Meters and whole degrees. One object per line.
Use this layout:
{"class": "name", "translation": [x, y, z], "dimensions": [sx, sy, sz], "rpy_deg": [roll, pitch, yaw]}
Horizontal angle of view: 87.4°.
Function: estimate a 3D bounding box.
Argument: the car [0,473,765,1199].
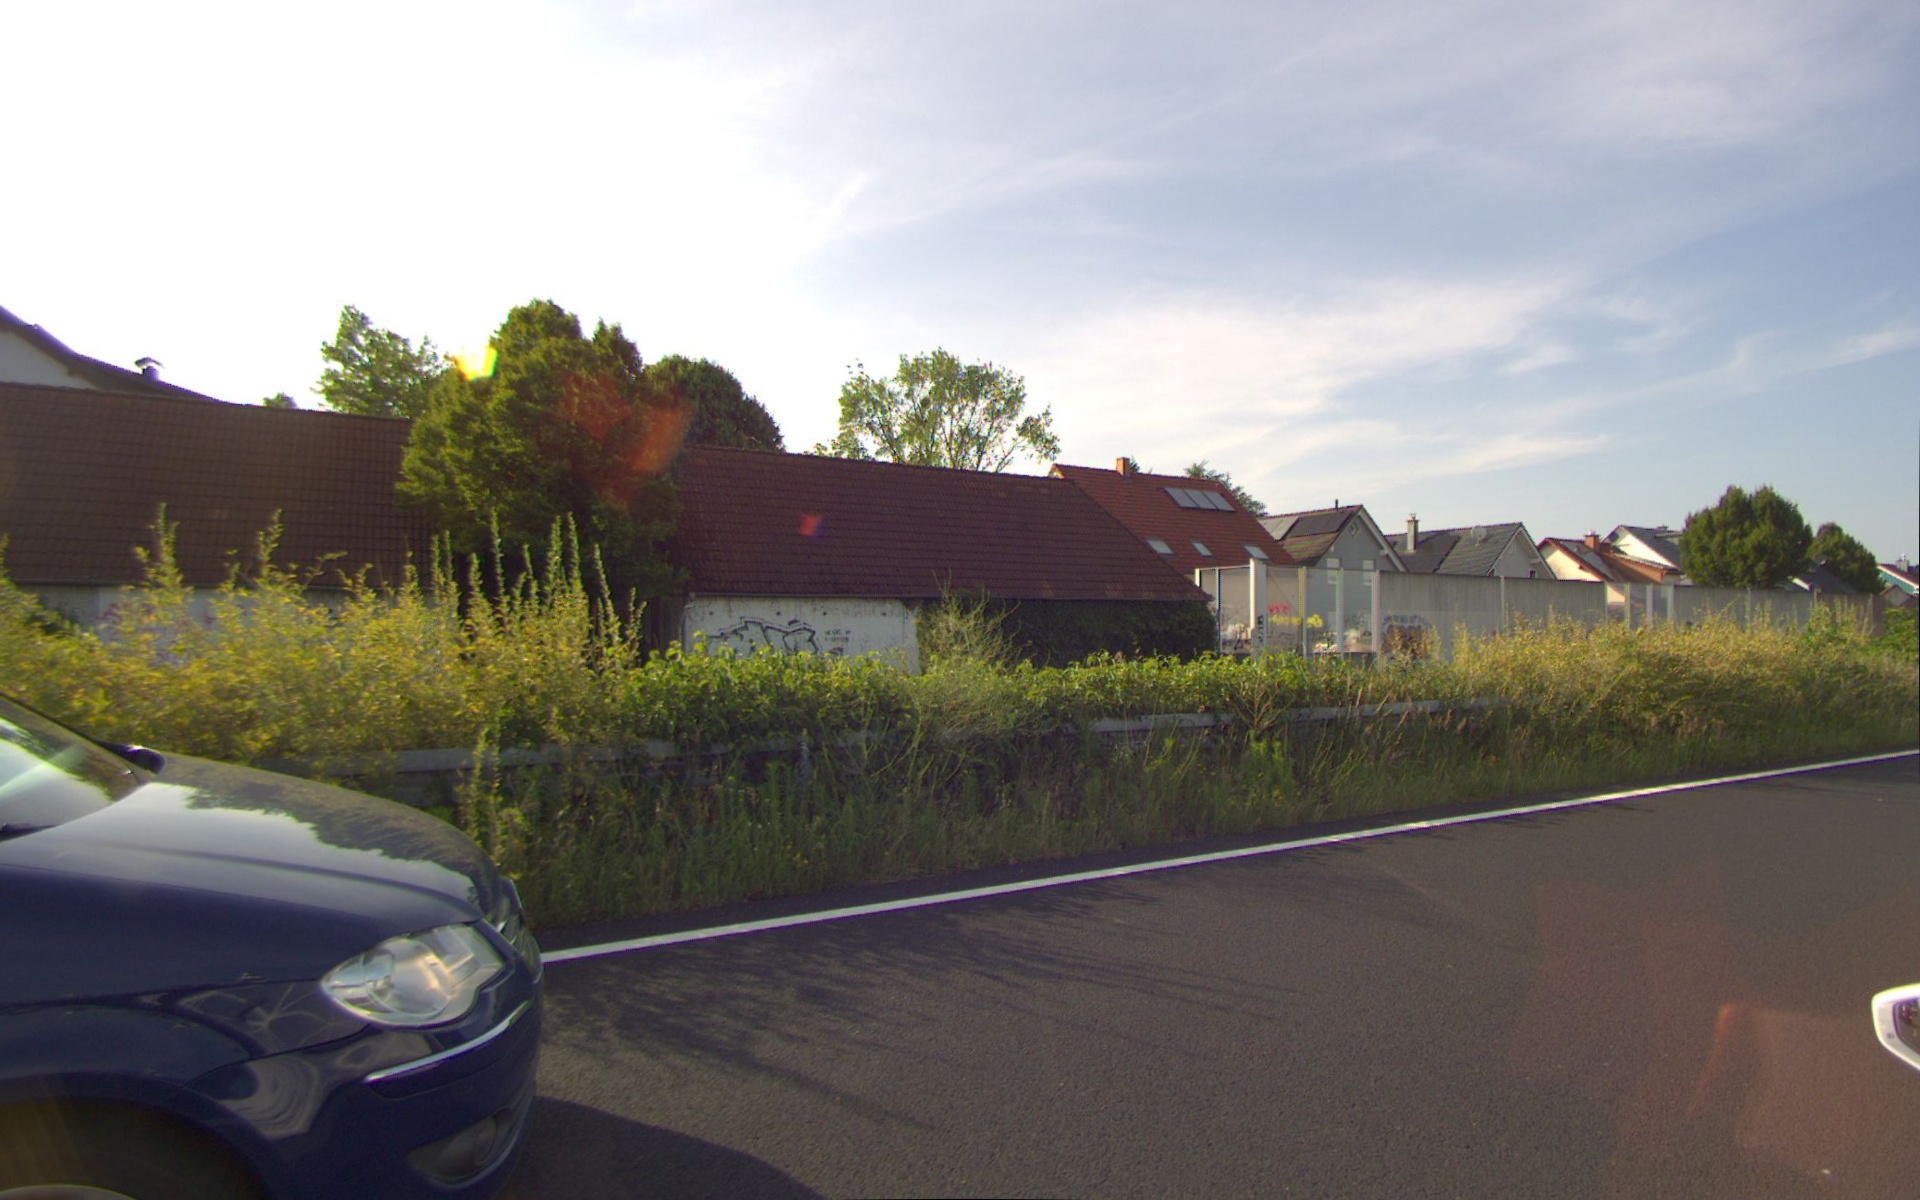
{"class": "car", "translation": [-2.850, 0.602, 1.678], "dimensions": [4.627, 1.643, 1.764], "rpy_deg": [2, -1, -30]}
